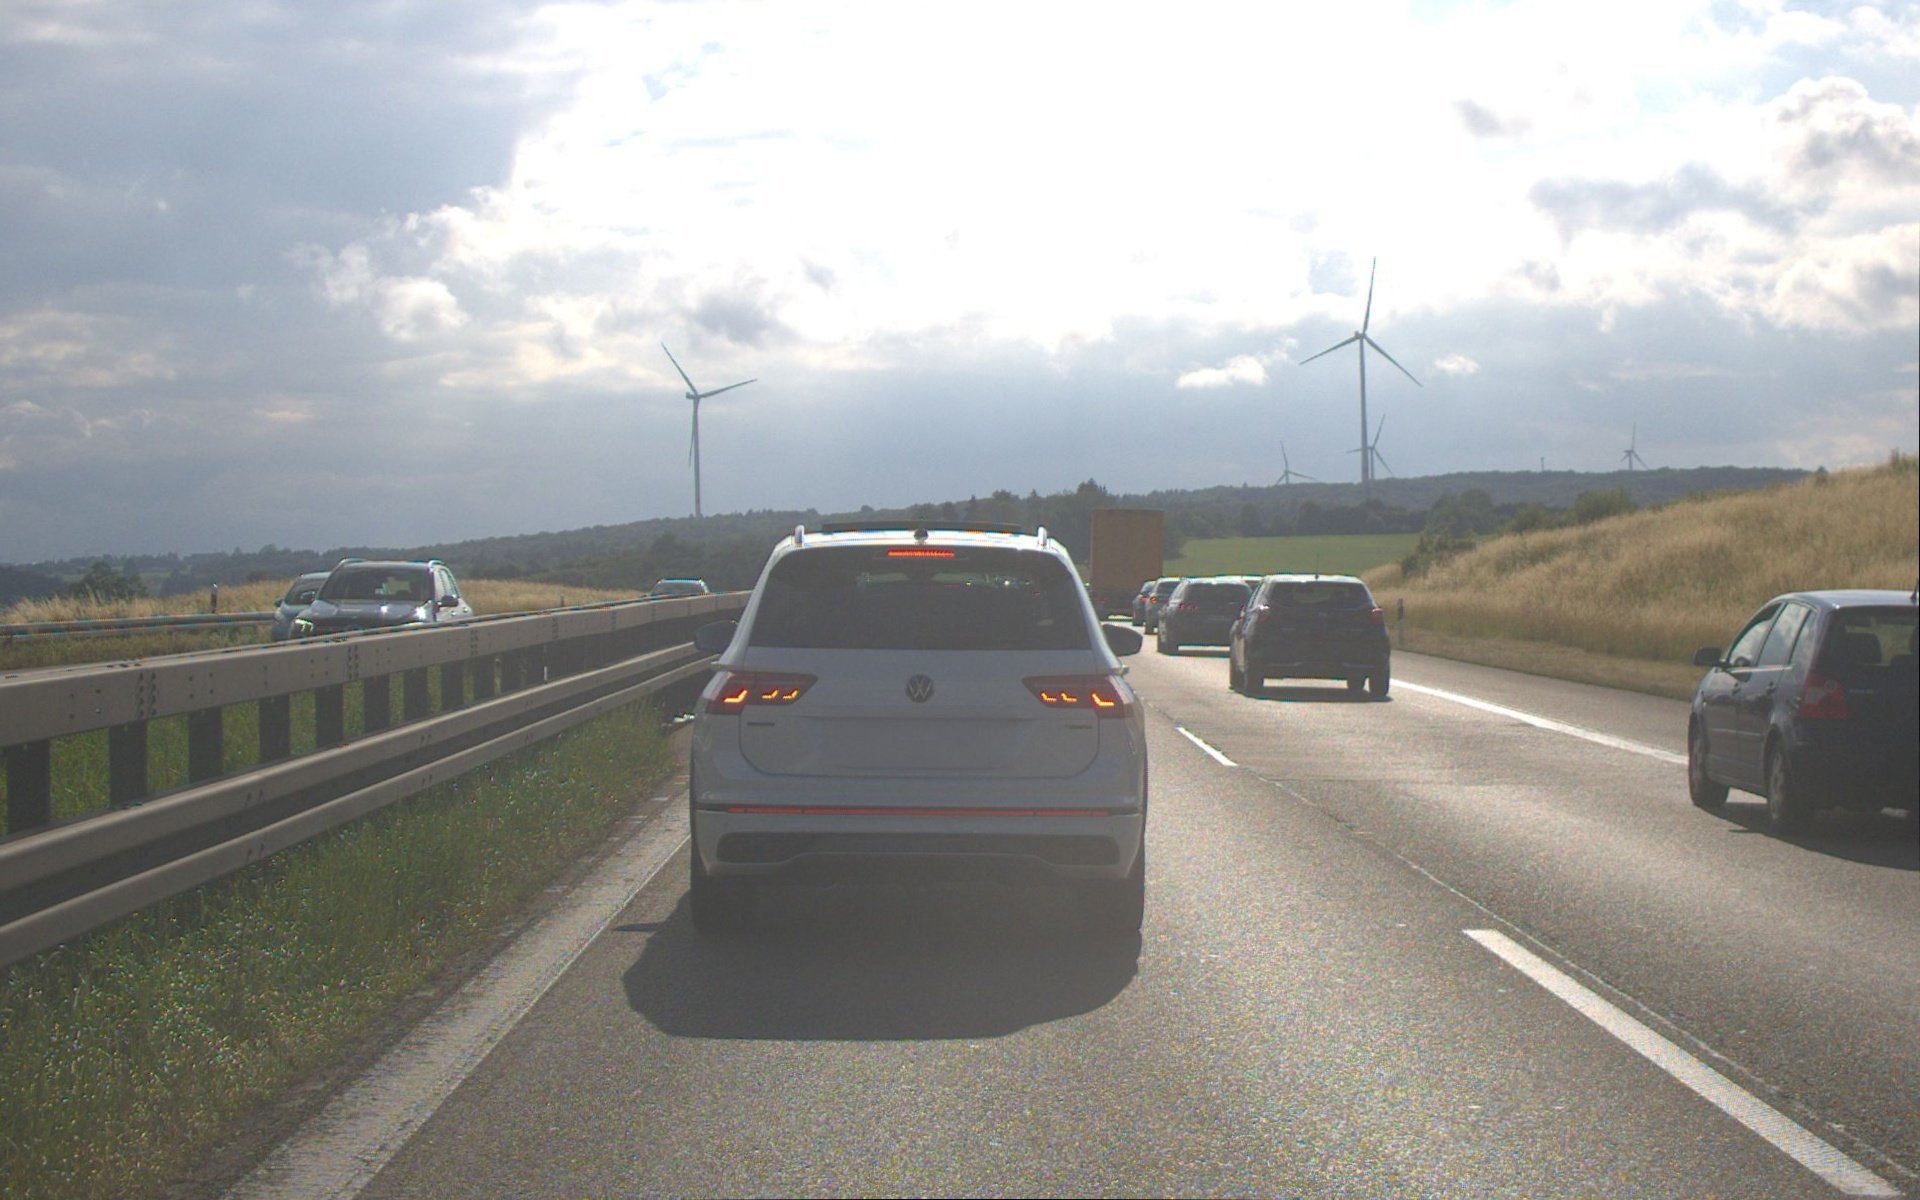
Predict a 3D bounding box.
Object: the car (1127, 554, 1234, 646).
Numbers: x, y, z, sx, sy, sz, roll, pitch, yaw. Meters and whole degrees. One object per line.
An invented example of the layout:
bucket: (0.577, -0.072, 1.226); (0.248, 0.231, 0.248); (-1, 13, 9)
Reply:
car: (4.068, -0.002, 63.863); (1.704, 1.644, 4.000); (0, 0, 0)

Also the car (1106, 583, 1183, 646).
car: (4.683, 0.355, 87.729); (1.704, 1.540, 4.000); (0, 0, 0)

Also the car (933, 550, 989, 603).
car: (0.020, -0.740, 108.406); (1.704, 1.644, 4.000); (0, 0, 0)

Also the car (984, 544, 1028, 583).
car: (1.850, -1.450, 138.538); (1.704, 1.540, 4.000); (0, 0, 0)

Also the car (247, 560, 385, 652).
car: (-11.584, 0.096, 62.059); (1.734, 1.582, 4.117); (0, 0, 0)

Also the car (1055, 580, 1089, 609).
car: (6.103, -0.296, 188.183); (1.704, 1.540, 4.000); (0, 0, 0)

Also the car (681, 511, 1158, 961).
car: (-0.160, 0.500, 14.843); (1.770, 1.670, 4.000); (0, 0, 0)

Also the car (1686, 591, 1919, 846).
car: (5.502, 0.659, 21.012); (1.606, 1.415, 3.672); (0, 0, 4)

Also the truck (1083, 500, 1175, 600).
truck: (6.270, -1.872, 129.095); (3.184, 3.581, 11.130); (0, 1, 2)

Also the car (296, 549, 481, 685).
car: (-7.754, 0.212, 47.000); (1.823, 1.764, 4.364); (0, 0, 0)

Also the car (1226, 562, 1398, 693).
car: (4.320, 0.316, 42.703); (1.704, 1.540, 4.000); (0, 0, 0)

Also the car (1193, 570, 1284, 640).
car: (6.251, 0.101, 77.521); (1.704, 1.540, 4.000); (0, 0, 0)

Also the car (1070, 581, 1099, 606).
car: (7.819, -0.394, 216.123); (1.704, 1.540, 4.000); (0, 0, 0)
